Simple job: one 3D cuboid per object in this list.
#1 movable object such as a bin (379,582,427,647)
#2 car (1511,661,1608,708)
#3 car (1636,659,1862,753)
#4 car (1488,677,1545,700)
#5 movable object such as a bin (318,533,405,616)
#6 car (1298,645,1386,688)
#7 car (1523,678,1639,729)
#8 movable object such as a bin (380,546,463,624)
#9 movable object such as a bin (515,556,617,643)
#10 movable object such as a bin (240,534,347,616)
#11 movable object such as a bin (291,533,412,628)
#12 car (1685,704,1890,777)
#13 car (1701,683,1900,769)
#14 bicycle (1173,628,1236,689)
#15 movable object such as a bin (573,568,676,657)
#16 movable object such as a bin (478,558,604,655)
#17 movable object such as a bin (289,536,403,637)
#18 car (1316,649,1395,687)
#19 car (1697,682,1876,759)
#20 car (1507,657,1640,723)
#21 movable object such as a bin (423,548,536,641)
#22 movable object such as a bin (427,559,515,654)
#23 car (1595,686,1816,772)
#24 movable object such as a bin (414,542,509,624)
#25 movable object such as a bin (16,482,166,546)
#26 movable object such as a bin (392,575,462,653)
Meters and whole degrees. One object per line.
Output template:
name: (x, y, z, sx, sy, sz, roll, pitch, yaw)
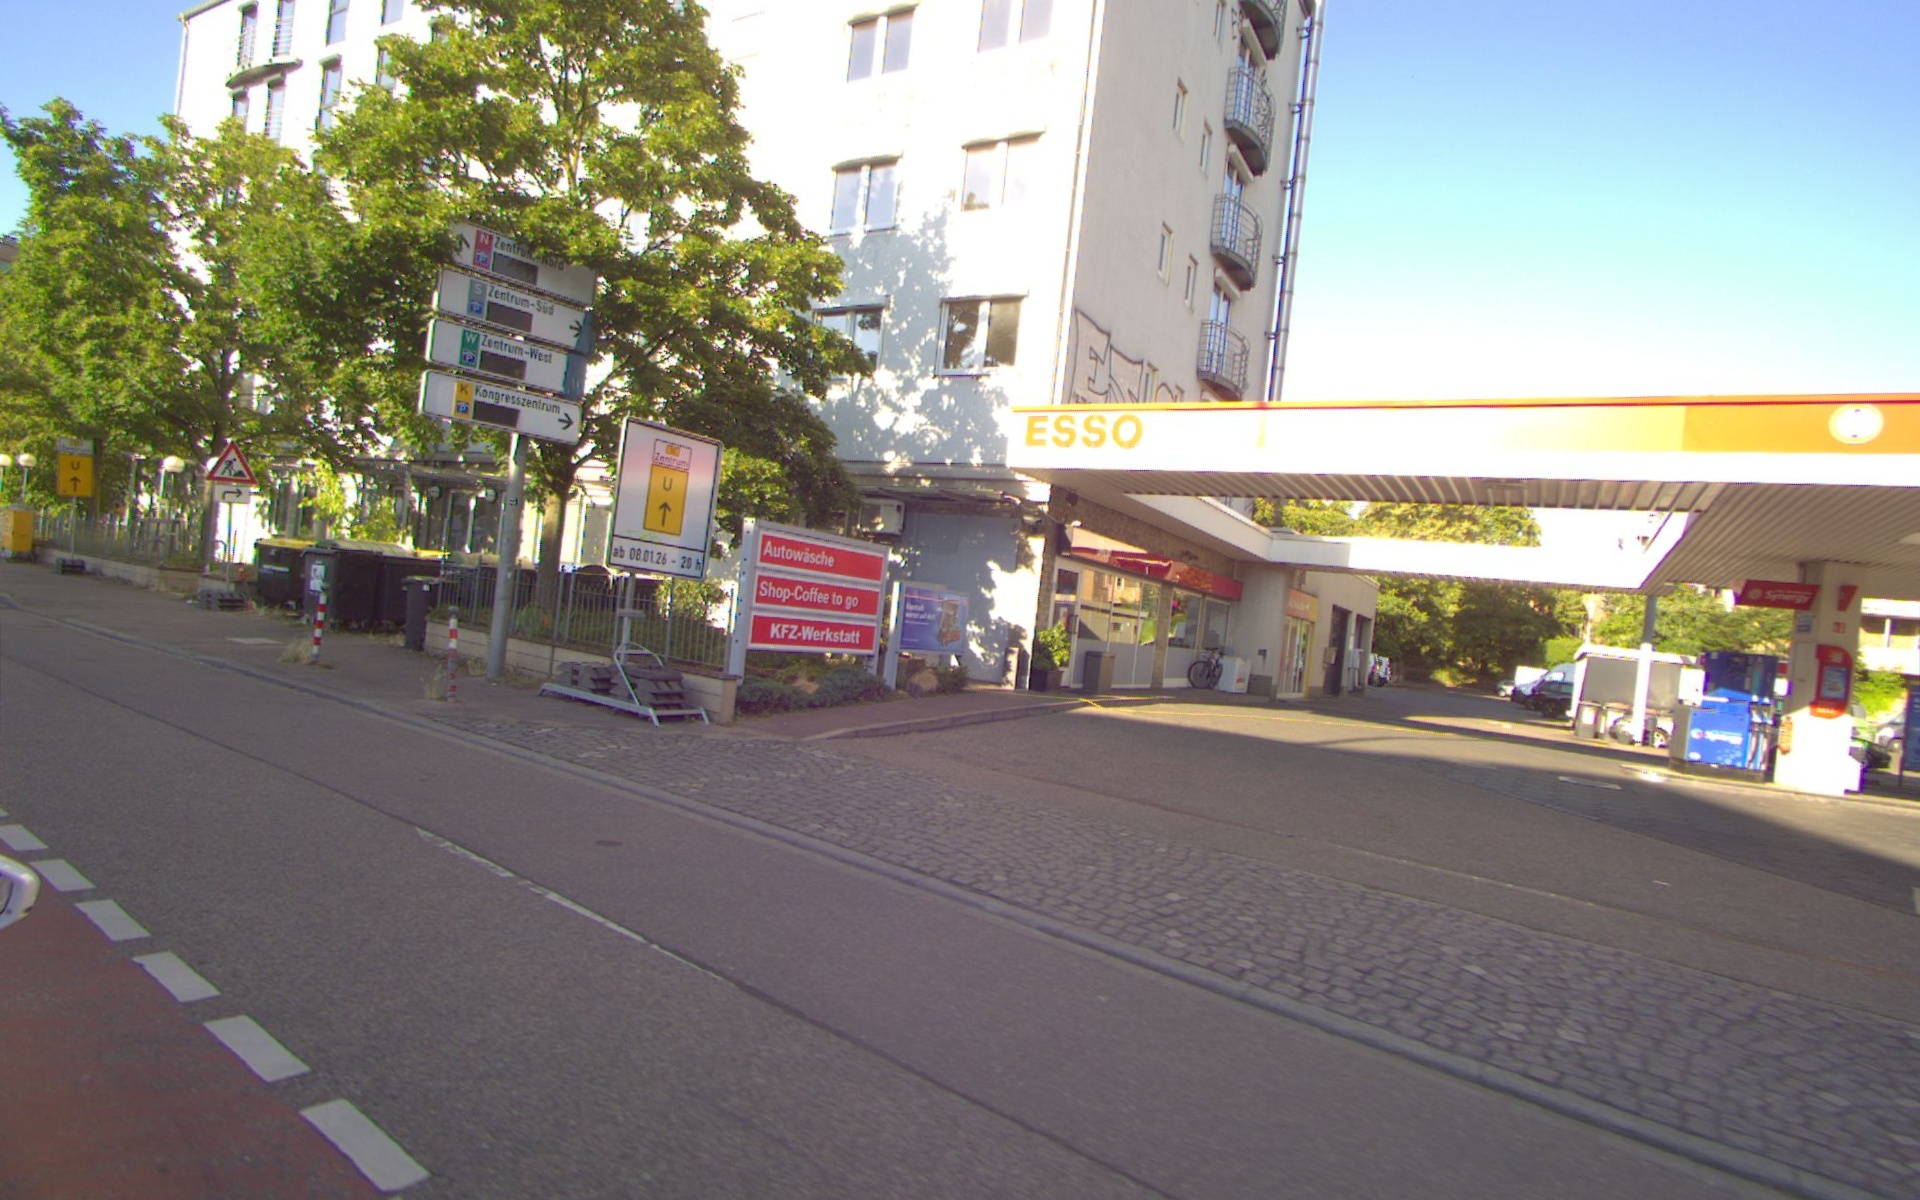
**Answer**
movable object such as a bin: (-8.428, 0.227, 15.220, 0.483, 0.918, 0.393, 6, 0, 36)
car: (48.168, 6.772, 80.984, 6.369, 2.842, 2.439, 6, 0, 30)
car: (29.235, 3.868, 37.624, 6.197, 2.532, 1.996, 6, 0, 30)
car: (46.734, 7.396, 84.515, 4.024, 1.400, 1.710, 6, 0, 30)
movable object such as a bin: (-12.154, -0.509, 20.446, 0.941, 1.503, 1.104, 6, 0, 33)
car: (20.187, 3.517, 53.199, 3.934, 1.791, 1.806, 6, 0, 32)
car: (25.962, 4.308, 42.190, 3.934, 1.526, 1.692, 6, 0, 32)
movable object such as a bin: (-11.380, -0.310, 21.286, 0.941, 1.503, 1.127, 6, 0, 34)
movable object such as a bin: (-7.376, 0.002, 18.861, 1.259, 1.440, 1.194, 8, 2, 36)
movable object such as a bin: (-12.593, -0.458, 19.042, 1.035, 1.360, 1.218, 6, 0, 18)
movable object such as a bin: (-11.022, -0.336, 18.260, 1.189, 1.503, 1.330, 6, 0, 24)
car: (23.334, 3.939, 28.601, 4.187, 1.312, 1.747, 6, 0, 33)
car: (25.305, 3.742, 30.537, 4.225, 1.867, 1.996, 6, 0, 32)
bicycle: (5.874, 1.428, 24.062, 0.518, 1.330, 2.807, 6, -1, 31)
movable object such as a bin: (-5.957, 0.241, 17.921, 0.851, 1.428, 1.406, 6, 0, 32)
movable object such as a bin: (-6.885, 0.126, 16.615, 0.851, 1.427, 1.609, 6, 0, 32)
movable object such as a bin: (-10.131, -0.218, 16.620, 1.234, 1.525, 1.093, 3, -2, 34)
car: (23.606, 4.050, 60.067, 3.934, 1.791, 1.806, 6, 0, 32)
car: (27.518, 3.958, 33.694, 4.225, 1.867, 1.996, 6, 0, 32)
car: (30.770, 4.482, 50.623, 5.395, 2.524, 1.692, 6, 0, 32)
movable object such as a bin: (-8.545, -0.094, 17.899, 1.260, 1.452, 1.307, 8, 2, 38)
movable object such as a bin: (-7.497, 0.105, 15.442, 0.851, 1.325, 0.778, 6, 0, 32)
car: (18.433, 3.148, 25.148, 4.187, 1.437, 1.747, 6, 0, 33)
movable object such as a bin: (-10.315, -0.342, 20.855, 1.000, 1.503, 1.327, 6, 0, 33)
movable object such as a bin: (-45.919, -4.511, 53.315, 2.506, 2.520, 5.357, 6, -1, 31)
movable object such as a bin: (-7.840, 0.213, 14.794, 0.607, 1.059, 0.619, 6, 0, 36)
